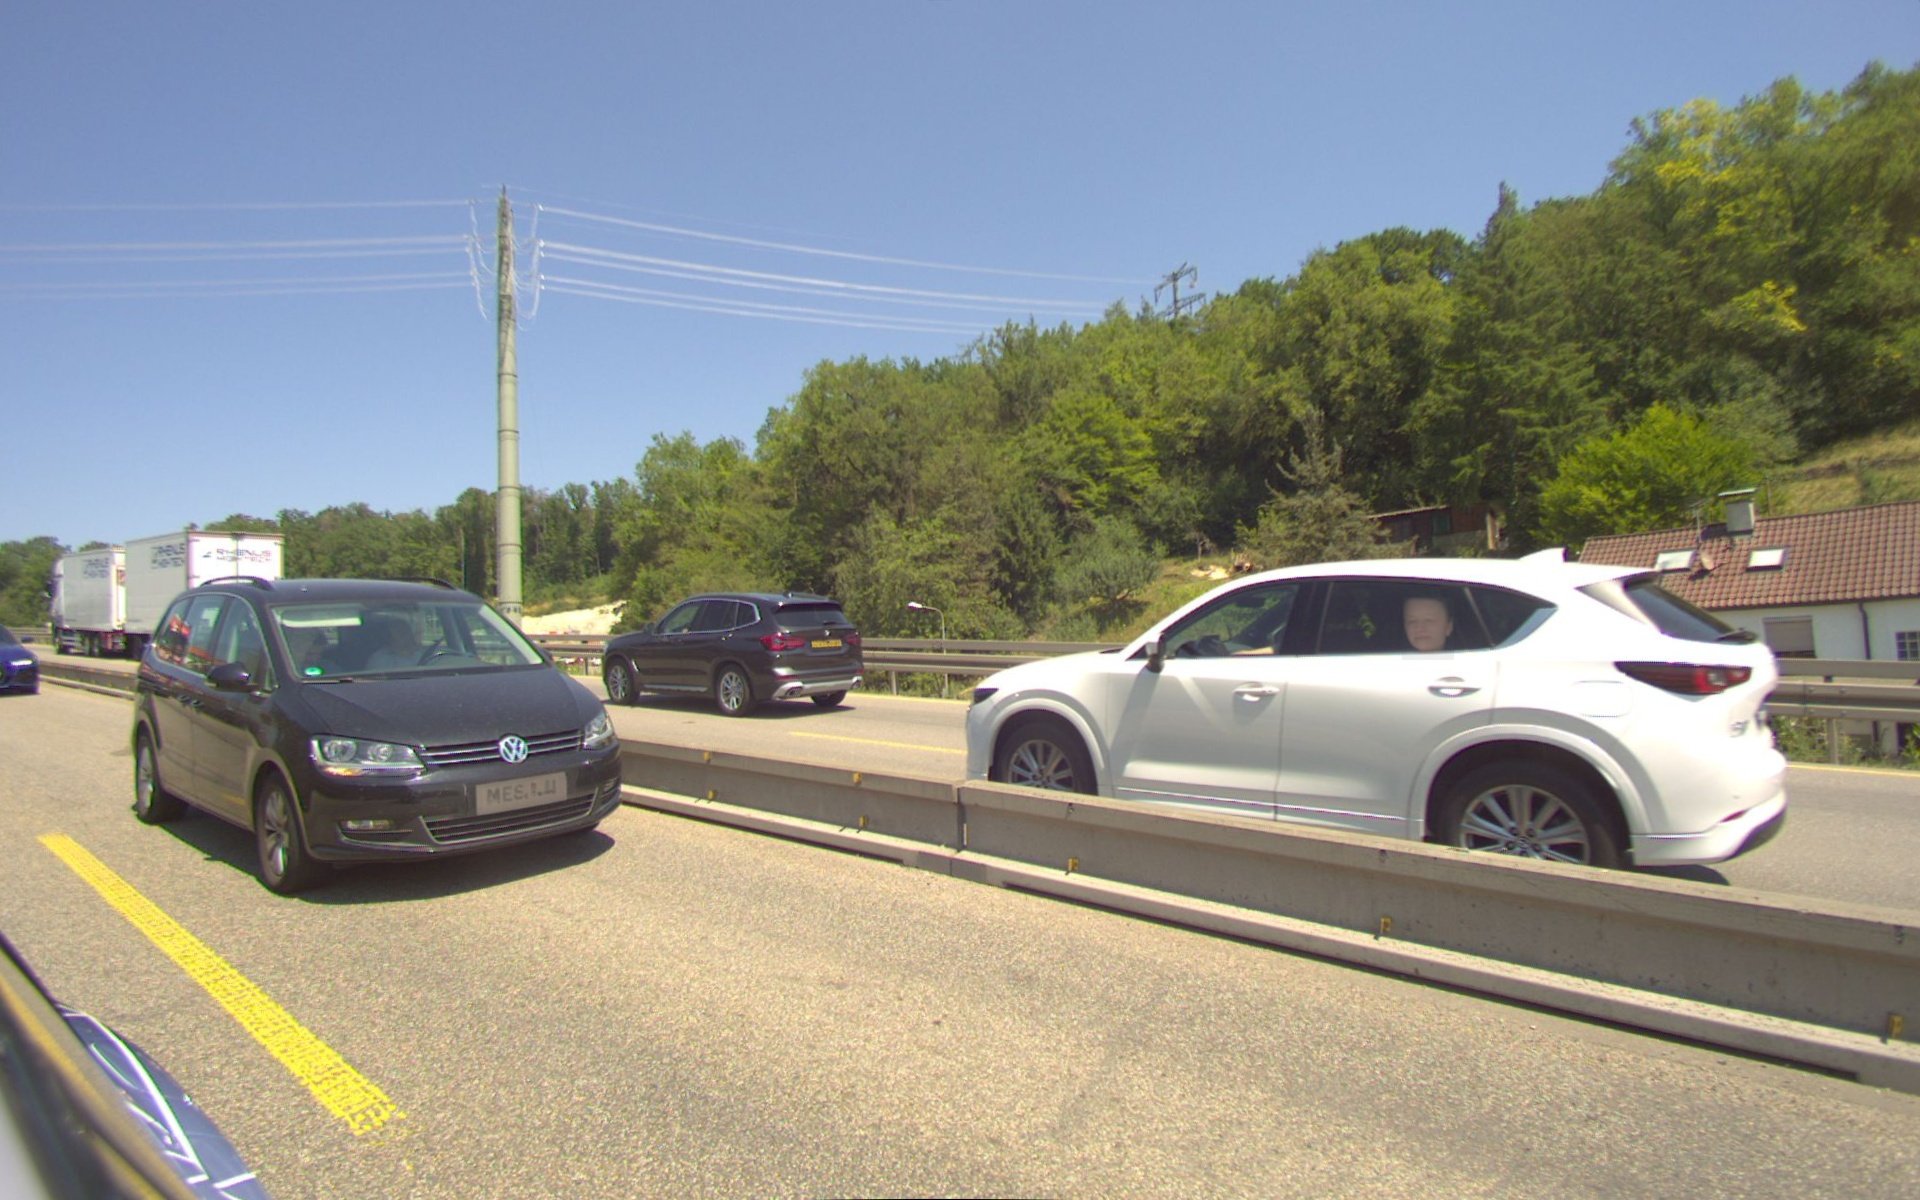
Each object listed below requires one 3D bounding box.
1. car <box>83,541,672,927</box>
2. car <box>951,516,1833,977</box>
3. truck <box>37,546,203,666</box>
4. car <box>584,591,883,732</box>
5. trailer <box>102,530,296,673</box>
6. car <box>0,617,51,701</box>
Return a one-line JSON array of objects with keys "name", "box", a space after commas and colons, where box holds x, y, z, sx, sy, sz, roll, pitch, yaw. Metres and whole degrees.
[{"name": "car", "box": [-4.296, 0.663, 6.946, 5.300, 1.719, 1.838, -2, -1, 40]}, {"name": "car", "box": [2.145, 0.539, 5.848, 4.385, 1.699, 1.731, 0, 0, 41]}, {"name": "truck", "box": [-33.168, 0.319, 39.760, 10.531, 4.194, 2.949, -2, -1, 38]}, {"name": "car", "box": [-3.439, 0.770, 14.840, 4.659, 1.755, 1.886, 0, 0, 41]}, {"name": "trailer", "box": [-25.517, 0.123, 33.717, 9.004, 4.197, 2.975, -1, -1, 38]}, {"name": "car", "box": [-19.933, 1.159, 20.217, 4.779, 1.567, 1.873, -2, -1, 38]}]
